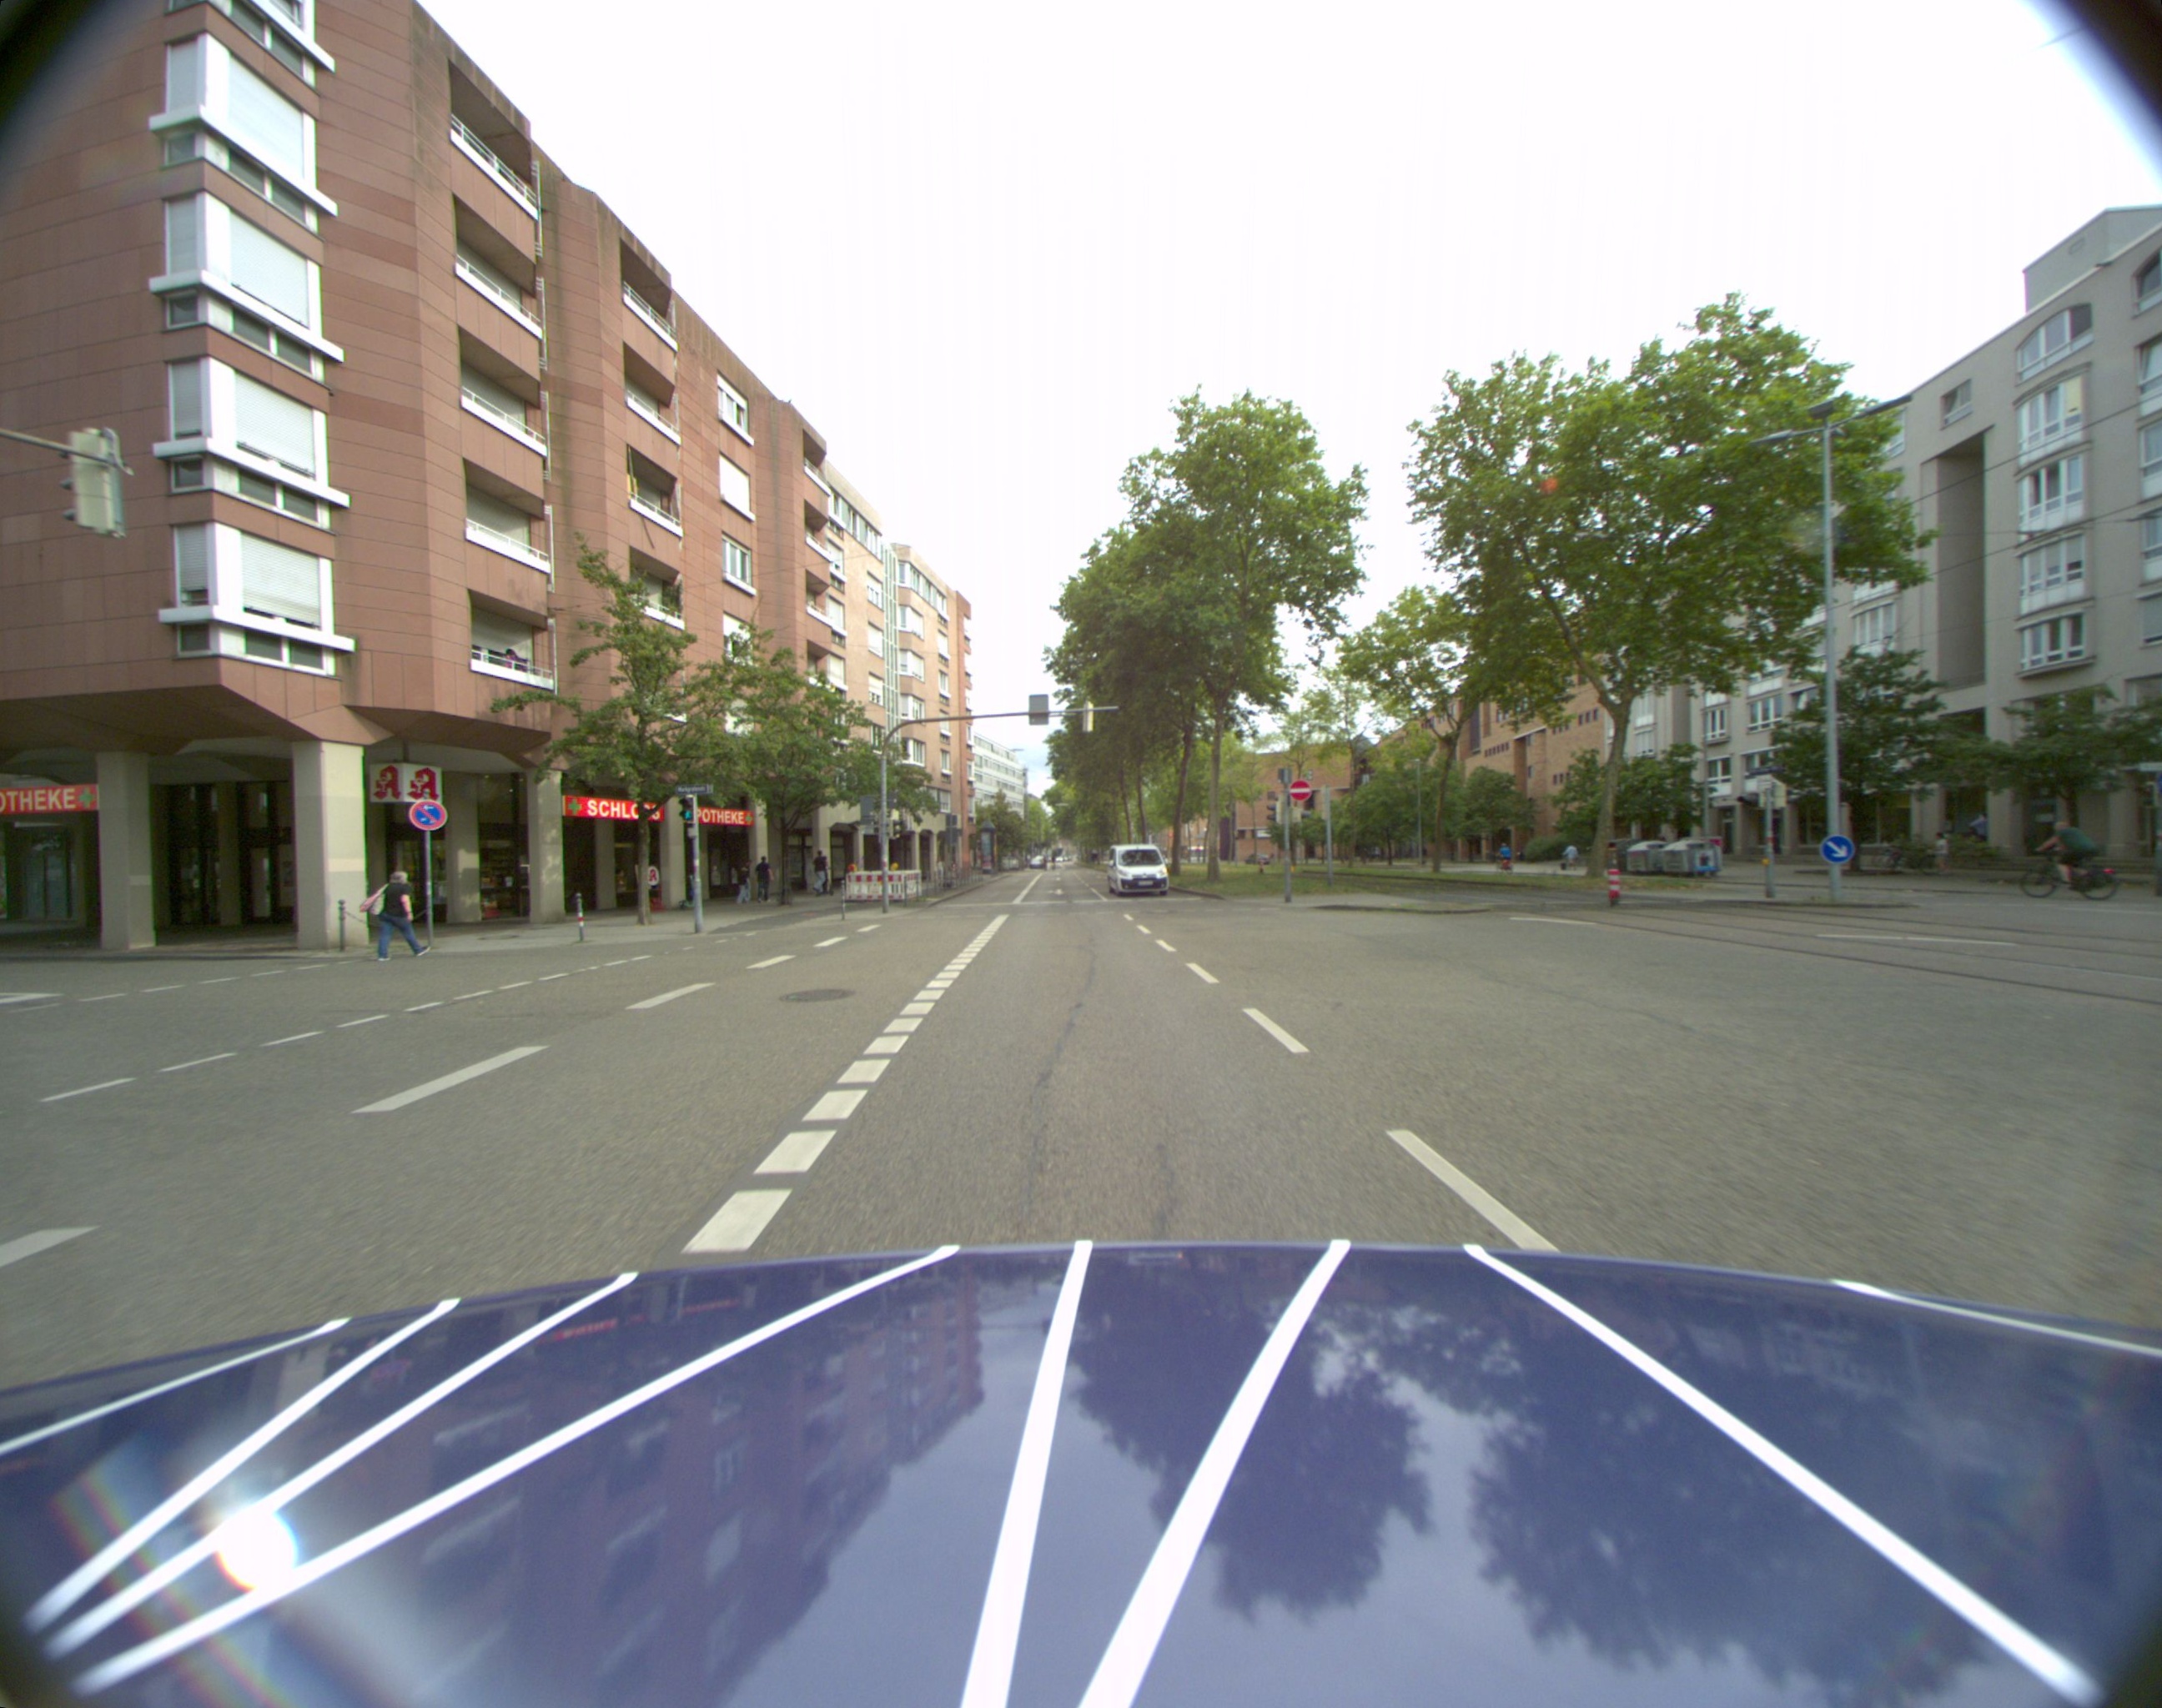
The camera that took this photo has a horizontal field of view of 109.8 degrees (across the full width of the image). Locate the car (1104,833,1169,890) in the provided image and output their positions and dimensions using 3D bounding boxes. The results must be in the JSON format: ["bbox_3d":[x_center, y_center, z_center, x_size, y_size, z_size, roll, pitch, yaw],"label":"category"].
[{"bbox_3d":[2.011,0.256,28.987,1.937,1.914,4.954,-1,0,-2],"label":"car"}]

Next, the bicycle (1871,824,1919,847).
[{"bbox_3d":[34.726,-0.797,32.439,0.440,0.938,1.633,-1,1,6],"label":"bicycle"}]

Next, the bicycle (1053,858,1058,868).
[{"bbox_3d":[-2.981,1.032,88.904,0.596,1.132,1.858,-1,0,-1],"label":"bicycle"}]

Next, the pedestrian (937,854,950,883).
[{"bbox_3d":[-7.893,0.841,43.682,0.545,1.640,0.825,-1,1,-1],"label":"pedestrian"}]

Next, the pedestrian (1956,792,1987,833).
[{"bbox_3d":[35.561,-1.648,30.337,0.571,1.596,0.548,-2,1,7],"label":"pedestrian"}]

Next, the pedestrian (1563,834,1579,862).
[{"bbox_3d":[29.308,-0.365,45.450,0.554,1.695,0.626,-1,1,3],"label":"pedestrian"}]

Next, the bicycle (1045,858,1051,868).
[{"bbox_3d":[-3.883,1.009,89.589,0.596,1.132,2.090,-1,0,-1],"label":"bicycle"}]

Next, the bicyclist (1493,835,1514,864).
[{"bbox_3d":[25.372,-0.266,45.642,0.691,1.663,0.953,-1,1,2],"label":"bicyclist"}]

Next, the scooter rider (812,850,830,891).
[{"bbox_3d":[-10.972,0.699,32.103,0.463,1.710,0.553,-1,1,10],"label":"scooter rider"}]

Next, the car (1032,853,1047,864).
[{"bbox_3d":[-5.899,0.635,107.732,1.821,1.434,4.665,0,0,1],"label":"car"}]

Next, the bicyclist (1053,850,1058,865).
[{"bbox_3d":[-2.983,0.398,88.792,0.591,1.760,1.035,-1,1,-1],"label":"bicyclist"}]

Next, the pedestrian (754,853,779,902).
[{"bbox_3d":[-11.755,0.871,28.437,0.552,1.789,0.658,-1,1,10],"label":"pedestrian"}]

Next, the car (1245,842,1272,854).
[{"bbox_3d":[19.059,-0.628,81.822,1.734,1.238,4.533,-2,1,-2],"label":"car"}]

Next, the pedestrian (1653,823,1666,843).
[{"bbox_3d":[38.259,-1.384,50.265,0.458,1.315,0.554,-1,1,10],"label":"pedestrian"}]

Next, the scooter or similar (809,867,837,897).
[{"bbox_3d":[-10.935,1.165,32.264,0.474,1.199,1.331,-1,1,12],"label":"scooter or similar"}]

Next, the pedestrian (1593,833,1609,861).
[{"bbox_3d":[31.292,-0.428,45.728,0.554,1.695,0.626,-1,2,3],"label":"pedestrian"}]

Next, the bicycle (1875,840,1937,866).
[{"bbox_3d":[30.641,-0.041,28.234,1.630,0.938,0.441,-1,1,10],"label":"bicycle"}]

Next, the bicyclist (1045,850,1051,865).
[{"bbox_3d":[-3.886,0.462,89.703,0.591,1.758,1.035,-1,1,-1],"label":"bicyclist"}]

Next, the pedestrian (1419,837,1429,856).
[{"bbox_3d":[30.047,-0.654,66.548,0.554,1.695,0.626,-1,1,3],"label":"pedestrian"}]

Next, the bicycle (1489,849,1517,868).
[{"bbox_3d":[25.401,0.246,45.804,0.692,1.086,1.877,-1,1,2],"label":"bicycle"}]

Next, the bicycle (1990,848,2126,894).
[{"bbox_3d":[24.778,0.407,19.351,0.679,1.086,2.209,-1,0,3],"label":"bicycle"}]

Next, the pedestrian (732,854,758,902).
[{"bbox_3d":[-12.814,0.895,29.001,0.552,1.789,0.658,-1,1,29],"label":"pedestrian"}]

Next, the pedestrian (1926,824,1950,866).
[{"bbox_3d":[30.942,-0.325,27.437,0.516,1.521,0.532,-3,1,-44],"label":"pedestrian"}]

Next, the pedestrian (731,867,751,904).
[{"bbox_3d":[-12.497,1.156,27.940,0.486,1.316,0.487,-3,2,-44],"label":"pedestrian"}]

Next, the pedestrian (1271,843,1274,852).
[{"bbox_3d":[35.031,-1.199,138.848,0.508,1.523,0.521,-1,1,13],"label":"pedestrian"}]

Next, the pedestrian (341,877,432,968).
[{"bbox_3d":[-12.400,1.207,13.593,0.677,1.529,0.947,-1,1,6],"label":"pedestrian"}]

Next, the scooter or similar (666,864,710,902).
[{"bbox_3d":[-12.978,0.939,25.119,0.554,1.163,1.407,-1,1,8],"label":"scooter or similar"}]

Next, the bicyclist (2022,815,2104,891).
[{"bbox_3d":[24.765,-0.027,19.191,0.668,1.837,1.081,-1,1,3],"label":"bicyclist"}]
